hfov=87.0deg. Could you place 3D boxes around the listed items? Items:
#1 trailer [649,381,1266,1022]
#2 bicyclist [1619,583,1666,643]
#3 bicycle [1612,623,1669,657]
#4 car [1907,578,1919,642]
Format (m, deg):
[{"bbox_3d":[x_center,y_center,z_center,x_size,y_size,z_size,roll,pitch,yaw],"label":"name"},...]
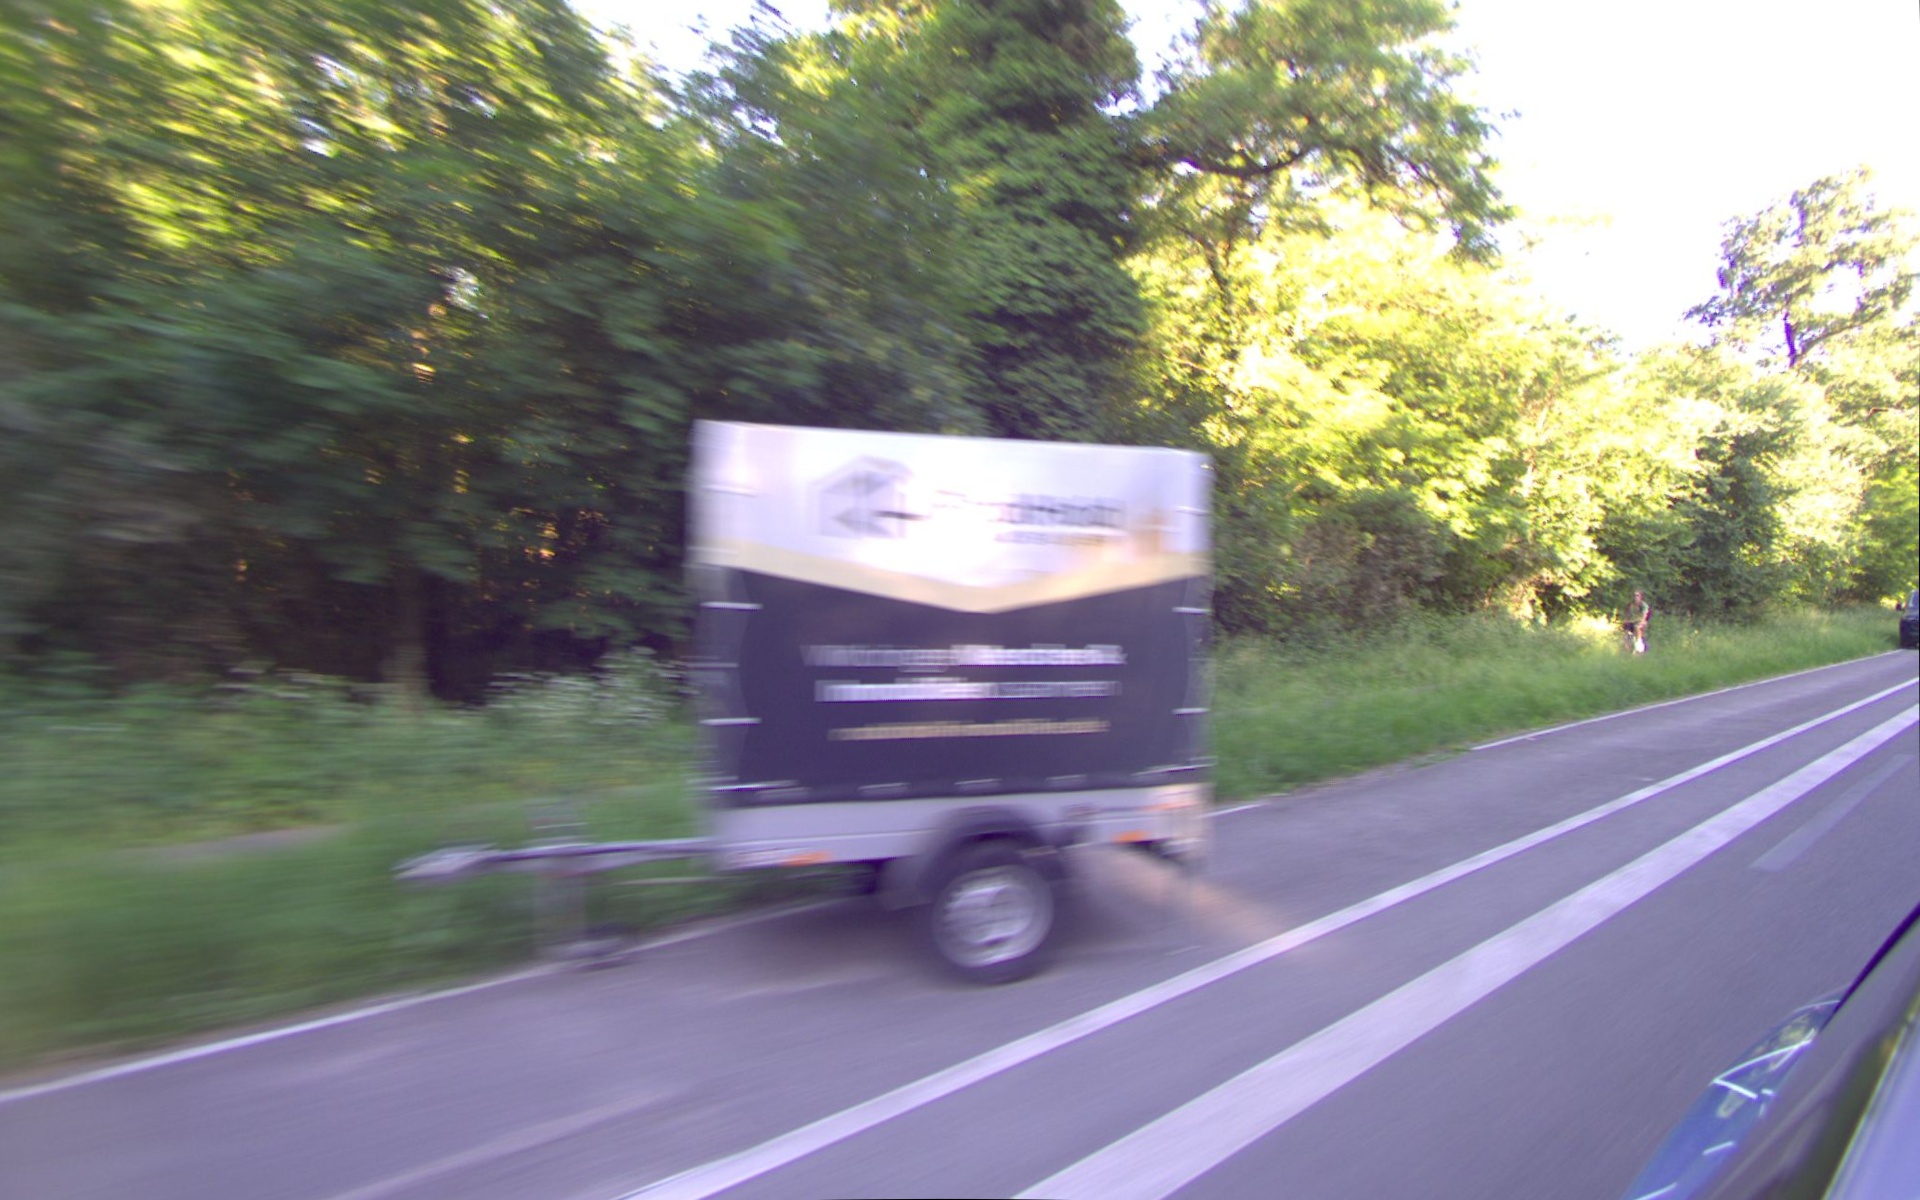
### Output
[{"bbox_3d":[-0.123,0.329,4.540,2.346,2.139,1.623,0,0,-20],"label":"trailer"},{"bbox_3d":[15.736,0.288,23.318,1.155,1.341,0.611,0,1,-41],"label":"bicyclist"},{"bbox_3d":[15.639,0.904,23.248,1.961,0.701,0.592,0,1,-41],"label":"bicycle"},{"bbox_3d":[32.735,0.303,33.042,4.951,2.039,2.117,0,-1,-41],"label":"car"}]
